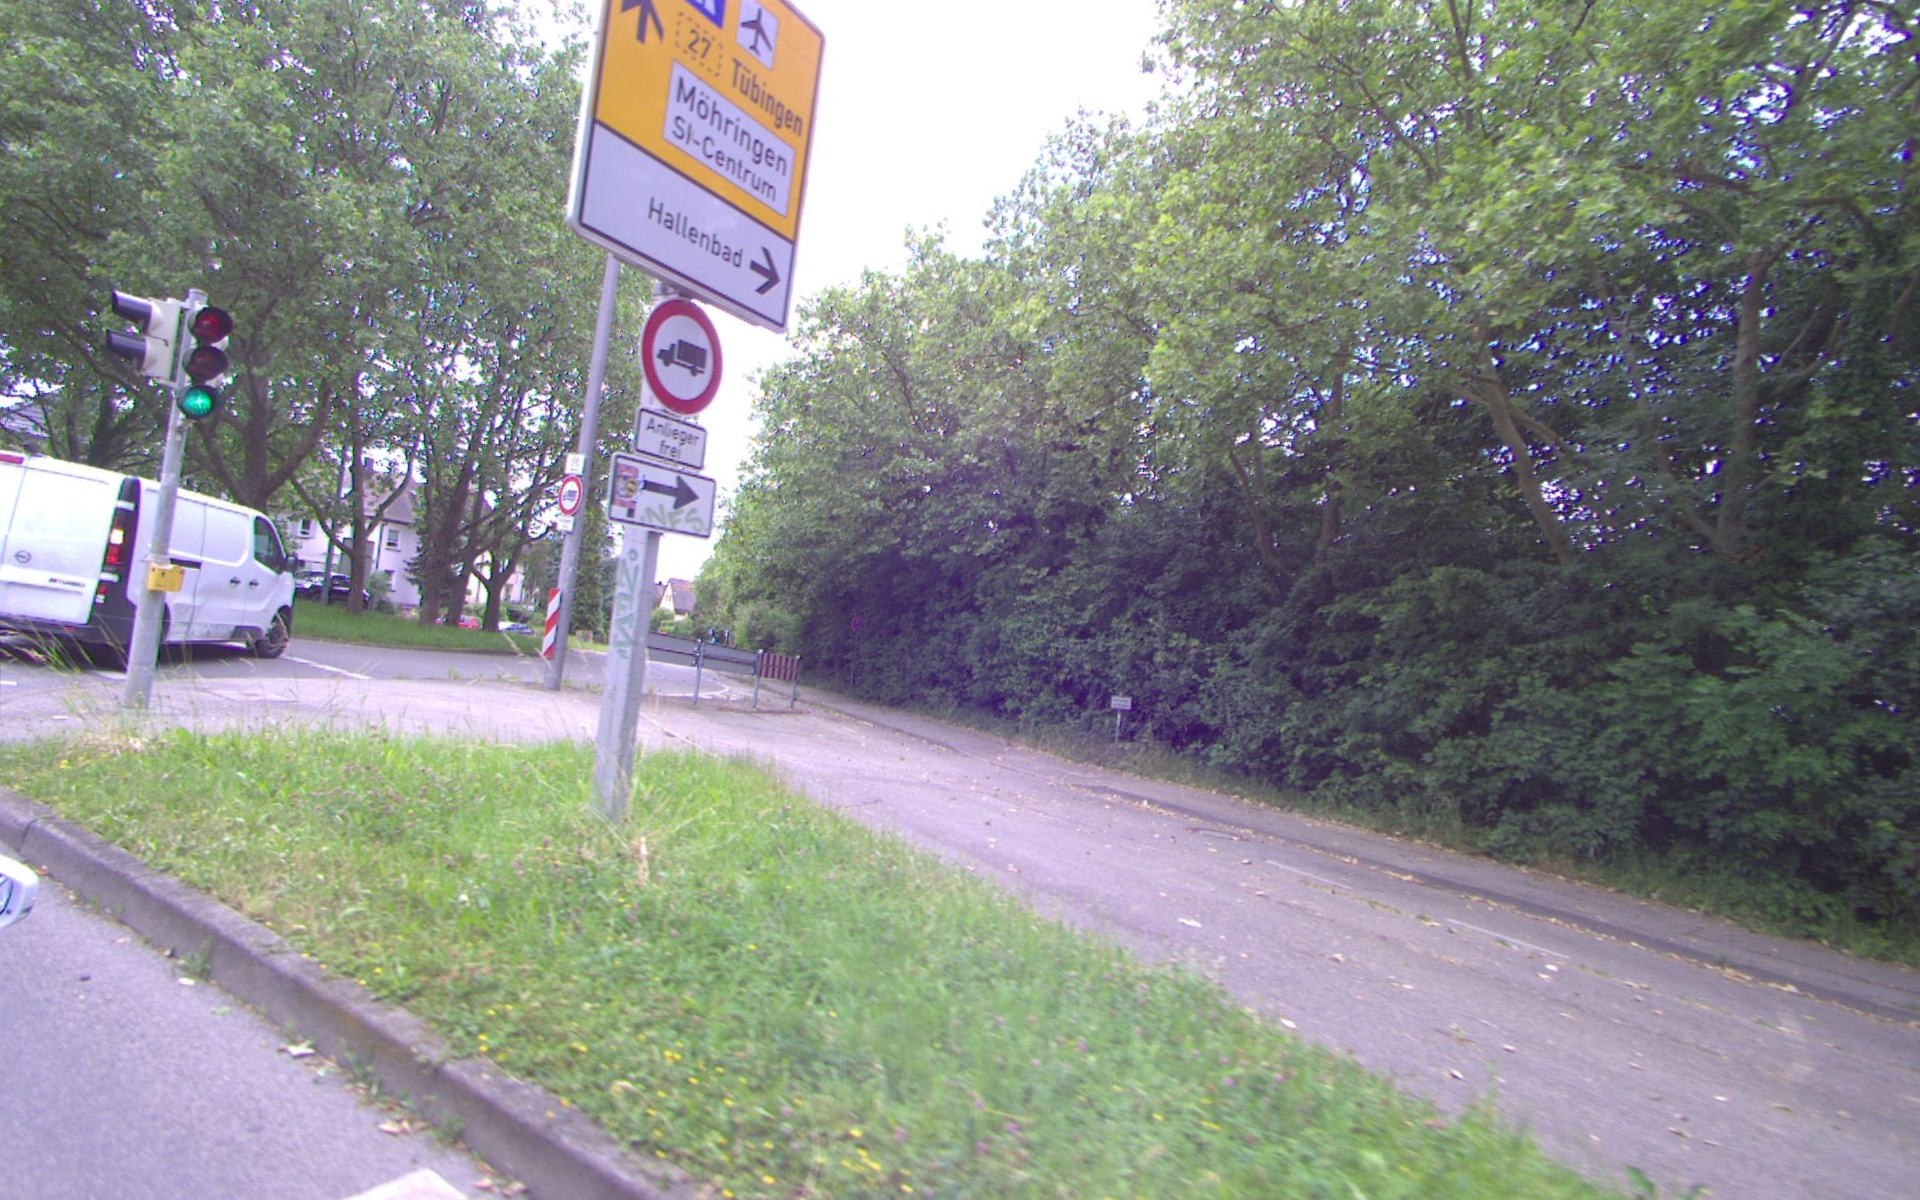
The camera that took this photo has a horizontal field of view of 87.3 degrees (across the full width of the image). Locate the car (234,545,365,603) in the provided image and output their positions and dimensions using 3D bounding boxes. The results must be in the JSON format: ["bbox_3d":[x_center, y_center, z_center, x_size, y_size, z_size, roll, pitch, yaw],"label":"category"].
[{"bbox_3d":[-24.469,-0.901,37.515,1.731,1.609,4.617,8,-3,-1],"label":"car"}]

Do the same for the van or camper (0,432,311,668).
[{"bbox_3d":[-9.498,-0.502,11.571,1.902,2.036,4.815,9,-2,-16],"label":"van or camper"}]

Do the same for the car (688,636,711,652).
[{"bbox_3d":[-30.792,5.195,118.856,1.713,1.489,3.363,9,-5,-26],"label":"car"}]

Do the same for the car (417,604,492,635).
[{"bbox_3d":[-33.287,1.318,66.314,1.700,1.489,4.287,6,-5,20],"label":"car"}]

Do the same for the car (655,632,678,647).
[{"bbox_3d":[-46.483,6.240,159.317,1.751,1.816,4.906,9,-4,-34],"label":"car"}]
